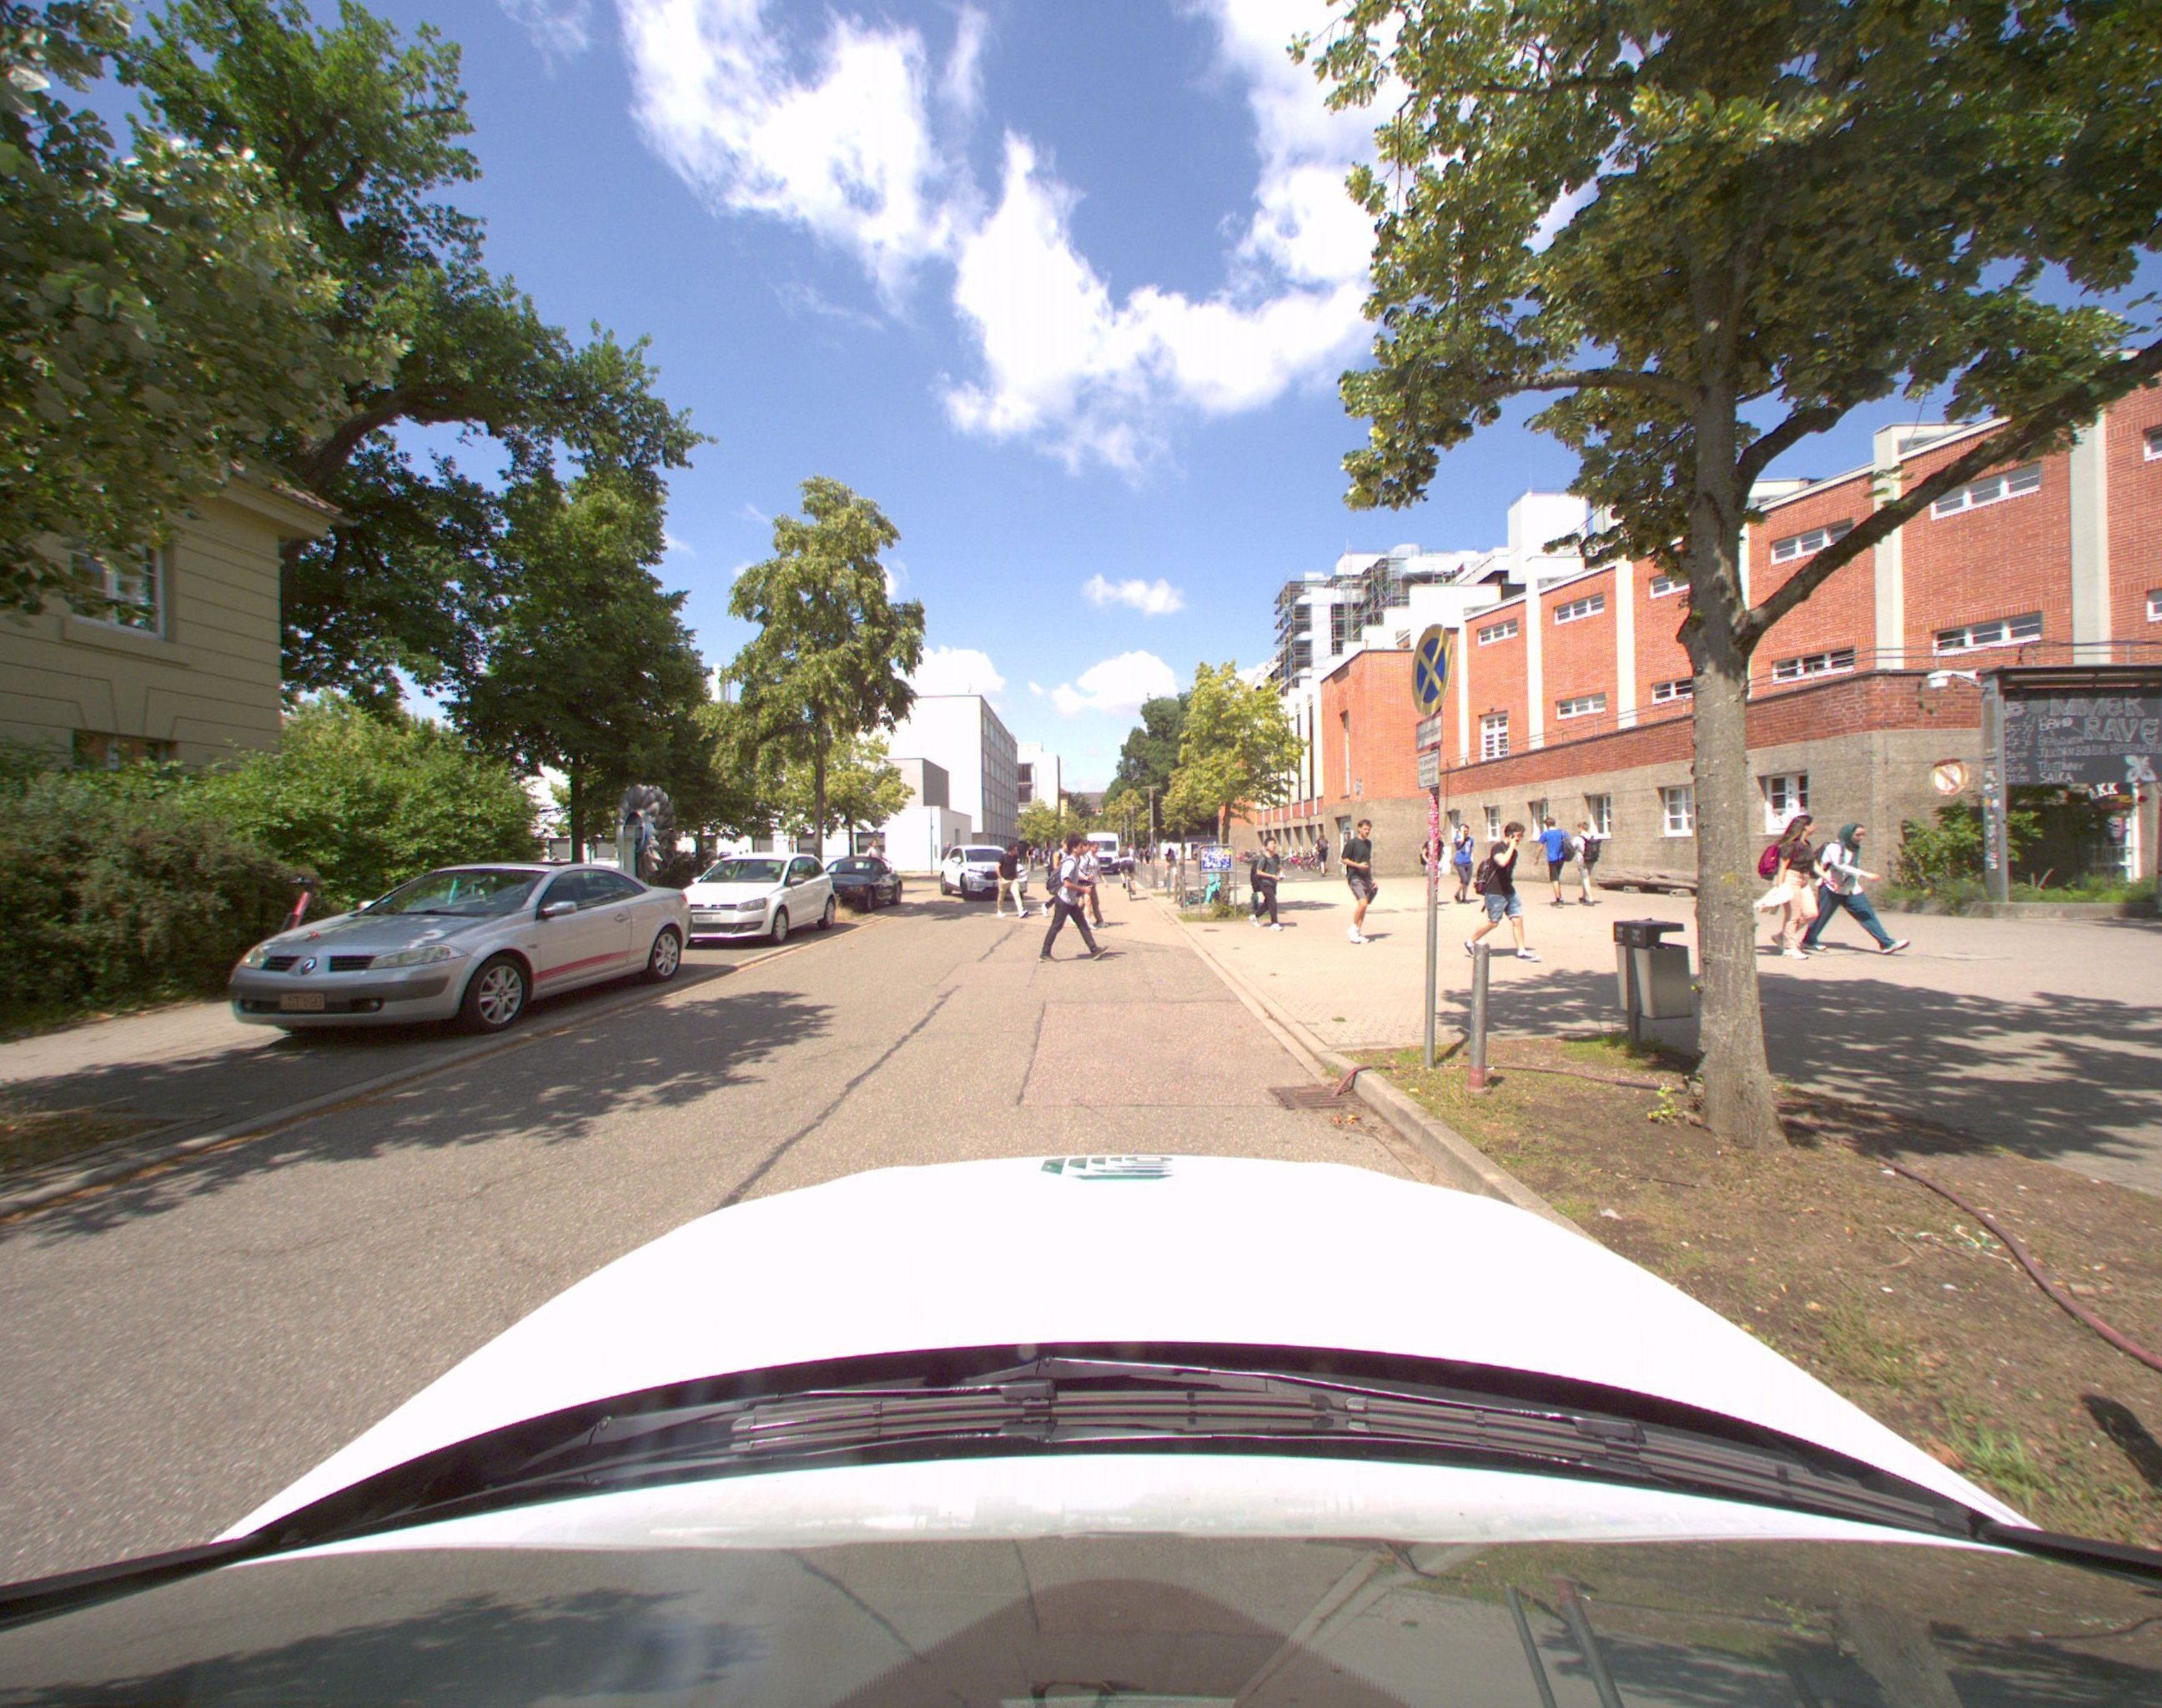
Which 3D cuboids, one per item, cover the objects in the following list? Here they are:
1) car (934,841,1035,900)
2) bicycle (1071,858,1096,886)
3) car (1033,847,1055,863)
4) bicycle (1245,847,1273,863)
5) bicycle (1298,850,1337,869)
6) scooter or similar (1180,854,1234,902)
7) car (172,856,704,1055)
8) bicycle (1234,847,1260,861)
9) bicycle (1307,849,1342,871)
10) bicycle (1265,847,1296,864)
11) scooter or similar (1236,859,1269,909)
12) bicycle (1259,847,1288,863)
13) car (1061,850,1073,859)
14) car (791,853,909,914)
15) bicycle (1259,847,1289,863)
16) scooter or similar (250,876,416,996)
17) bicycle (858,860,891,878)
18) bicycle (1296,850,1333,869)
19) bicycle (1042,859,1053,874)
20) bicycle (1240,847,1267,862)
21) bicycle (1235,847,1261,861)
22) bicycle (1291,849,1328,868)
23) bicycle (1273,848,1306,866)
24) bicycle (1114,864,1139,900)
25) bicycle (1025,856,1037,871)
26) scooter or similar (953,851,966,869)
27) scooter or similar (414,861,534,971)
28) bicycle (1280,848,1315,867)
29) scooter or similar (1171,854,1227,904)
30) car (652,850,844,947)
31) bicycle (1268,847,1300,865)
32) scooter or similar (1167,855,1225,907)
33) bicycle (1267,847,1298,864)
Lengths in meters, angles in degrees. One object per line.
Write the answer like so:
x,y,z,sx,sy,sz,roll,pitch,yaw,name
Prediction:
-3.089,0.477,25.240,1.926,1.619,4.487,2,-1,-22,car
0.076,0.733,33.948,0.807,1.002,2.120,-3,2,-5,bicycle
-3.857,0.069,85.647,1.787,1.530,4.006,-1,0,5,car
12.492,0.063,57.081,1.803,0.985,0.560,-3,0,0,bicycle
12.186,0.278,41.991,1.803,0.912,0.560,-2,0,0,bicycle
3.419,0.653,22.110,1.248,1.265,0.644,-1,0,33,scooter or similar
-5.570,0.732,7.906,1.718,1.343,4.168,1,1,2,car
12.614,0.012,61.915,1.803,0.985,0.560,-3,0,0,bicycle
11.959,0.290,40.059,1.530,1.033,0.560,-2,0,0,bicycle
12.716,0.103,51.967,1.803,0.985,0.560,-3,0,0,bicycle
4.171,0.711,19.737,0.643,1.160,1.270,-1,0,16,scooter or similar
12.877,0.078,54.582,1.803,0.985,0.560,-3,0,0,bicycle
-2.519,0.111,151.999,1.787,1.530,4.006,-1,0,5,car
-5.596,0.667,20.249,1.638,1.300,3.930,-2,0,2,car
12.722,0.083,53.802,1.803,0.985,0.560,-3,0,0,bicycle
-8.048,0.839,8.815,0.466,1.171,1.234,-1,0,21,scooter or similar
-11.909,0.849,46.860,2.097,1.002,0.816,-1,-1,42,bicycle
12.280,0.280,42.846,1.803,0.912,0.560,-2,0,0,bicycle
-2.321,0.842,56.105,0.675,0.965,2.002,1,0,0,bicycle
12.413,0.050,58.616,1.803,0.985,0.560,-3,0,0,bicycle
12.524,0.015,60.952,1.803,0.985,0.560,-3,0,0,bicycle
12.436,0.246,44.338,1.803,0.912,0.560,-3,0,0,bicycle
12.277,0.193,47.975,1.803,0.985,0.560,-3,0,0,bicycle
1.382,0.823,24.333,0.703,0.993,1.913,-1,0,4,bicycle
-3.343,0.607,54.519,0.675,0.965,2.002,-1,0,-1,bicycle
-8.402,0.392,56.268,0.374,1.216,1.211,-1,0,17,scooter or similar
-7.878,0.768,10.634,0.522,1.287,1.229,-4,1,1,scooter or similar
12.238,0.209,46.014,1.803,0.985,0.560,-3,0,0,bicycle
3.080,0.655,21.300,1.248,1.265,0.655,-1,0,33,scooter or similar
-5.462,0.646,13.901,1.656,1.411,3.807,0,1,1,car
12.664,0.124,50.766,1.803,0.985,0.560,-3,0,0,bicycle
2.893,0.667,20.527,1.248,1.265,0.655,-1,0,33,scooter or similar
12.690,0.117,51.353,1.803,0.985,0.560,-3,0,0,bicycle
